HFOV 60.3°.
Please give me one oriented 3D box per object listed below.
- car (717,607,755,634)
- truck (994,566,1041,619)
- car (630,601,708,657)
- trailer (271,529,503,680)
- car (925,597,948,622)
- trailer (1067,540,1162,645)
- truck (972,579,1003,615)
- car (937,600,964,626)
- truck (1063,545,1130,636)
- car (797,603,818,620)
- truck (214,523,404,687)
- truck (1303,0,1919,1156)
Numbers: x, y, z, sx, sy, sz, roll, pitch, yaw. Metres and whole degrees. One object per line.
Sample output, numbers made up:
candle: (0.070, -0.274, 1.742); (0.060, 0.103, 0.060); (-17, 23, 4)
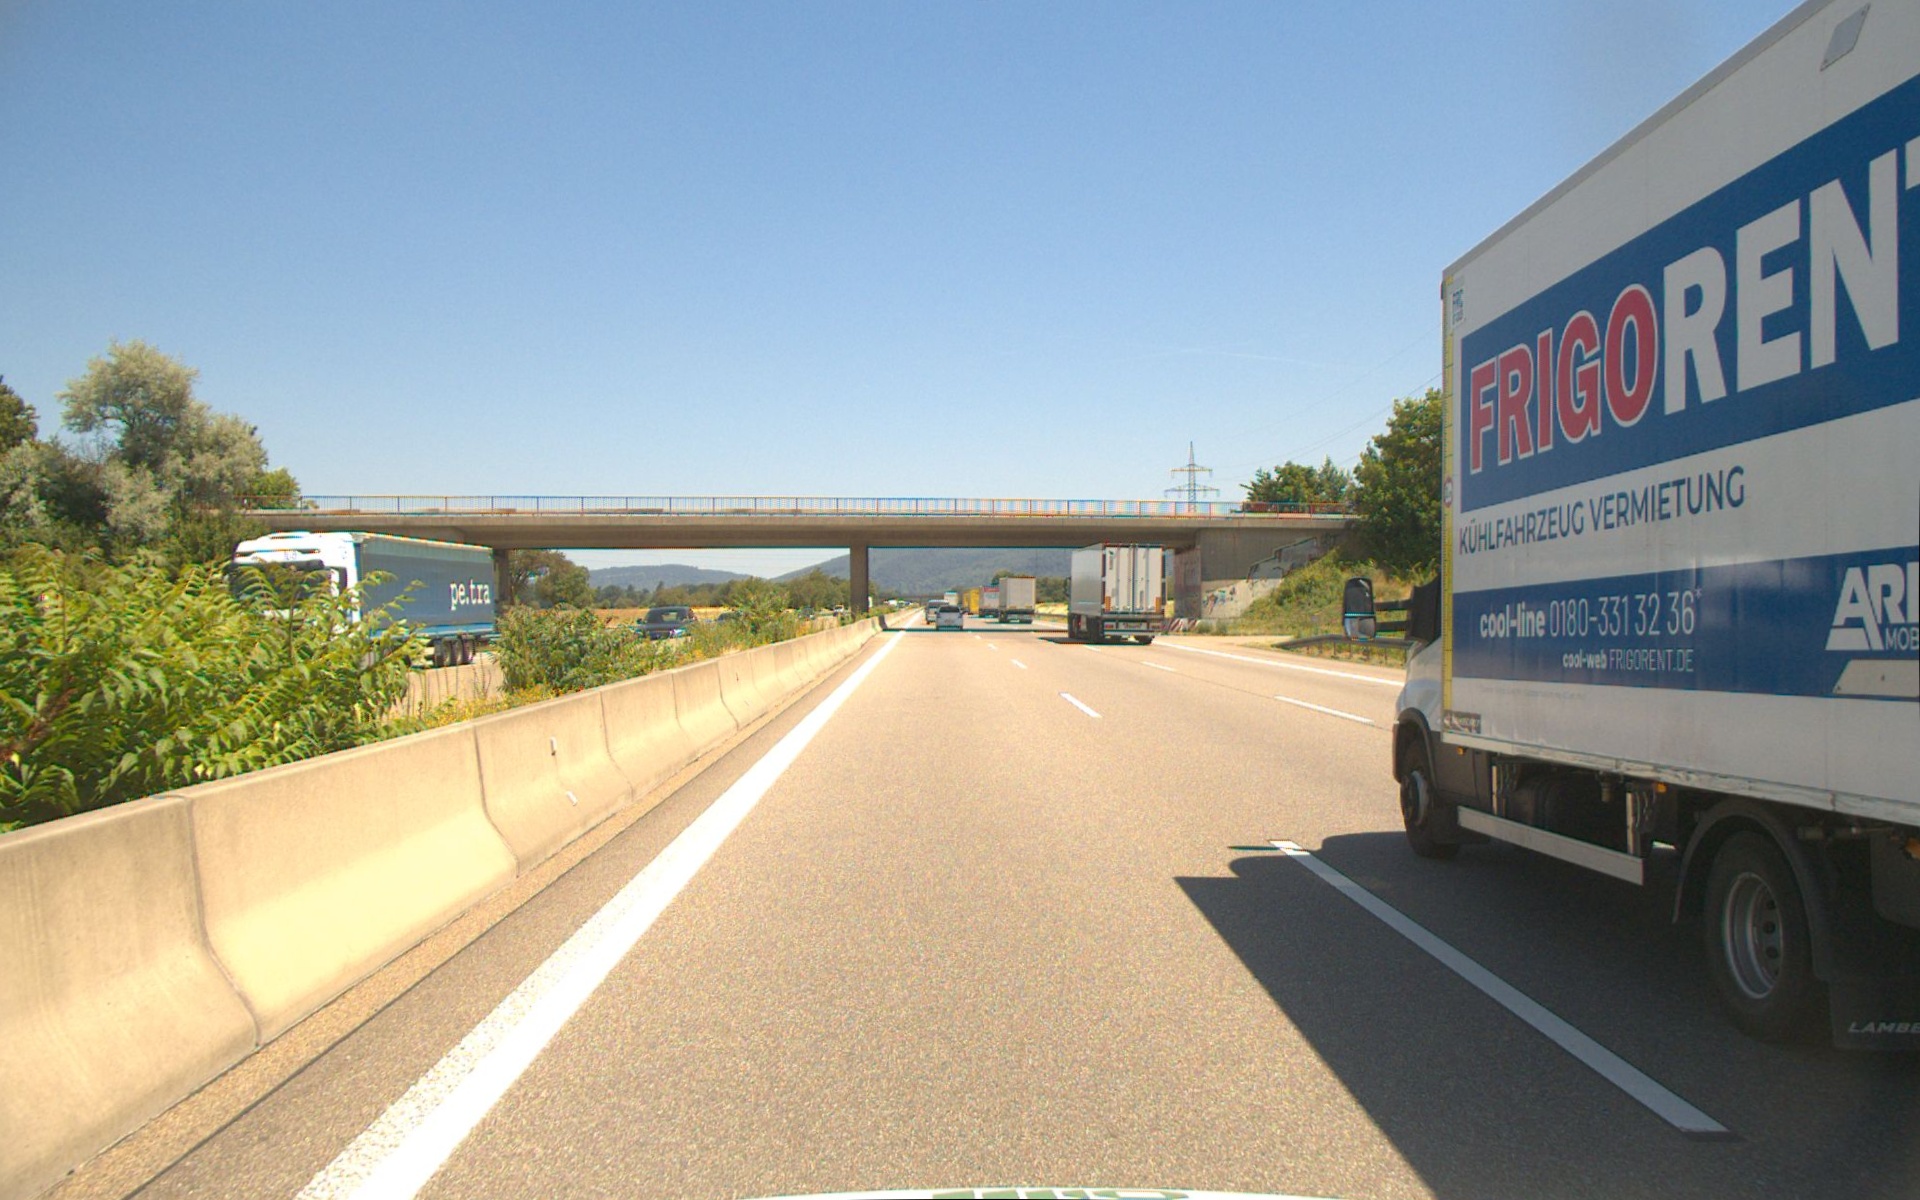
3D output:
car: (-13.868, 1.259, 102.573); (1.770, 1.571, 3.876); (-3, 0, -1)
truck: (5.131, -0.625, 150.053); (3.449, 4.493, 14.587); (-1, 0, -1)
car: (-9.733, 0.941, 55.616); (1.869, 1.768, 4.121); (-2, 0, -1)
trailer: (-17.486, 0.111, 51.827); (2.777, 4.007, 13.218); (-2, 0, -1)
car: (-1.851, 0.738, 130.034); (1.725, 1.883, 4.000); (0, 0, 0)
trailer: (6.690, -0.302, 73.645); (2.738, 4.237, 13.953); (0, 0, -1)
truck: (3.523, -0.385, 217.274); (3.449, 4.493, 14.587); (-1, 0, -1)
car: (-0.553, 0.773, 99.073); (1.574, 1.493, 4.000); (0, 0, 0)
truck: (6.596, -0.445, 80.563); (2.738, 4.237, 5.721); (0, 0, -1)
car: (-15.469, 1.186, 168.315); (1.768, 1.702, 3.999); (-1, 0, -1)
truck: (-17.347, 0.115, 44.515); (2.777, 4.007, 5.823); (-2, 0, -1)
truck: (3.896, -0.187, 7.640); (2.726, 3.432, 8.124); (0, 0, -2)
